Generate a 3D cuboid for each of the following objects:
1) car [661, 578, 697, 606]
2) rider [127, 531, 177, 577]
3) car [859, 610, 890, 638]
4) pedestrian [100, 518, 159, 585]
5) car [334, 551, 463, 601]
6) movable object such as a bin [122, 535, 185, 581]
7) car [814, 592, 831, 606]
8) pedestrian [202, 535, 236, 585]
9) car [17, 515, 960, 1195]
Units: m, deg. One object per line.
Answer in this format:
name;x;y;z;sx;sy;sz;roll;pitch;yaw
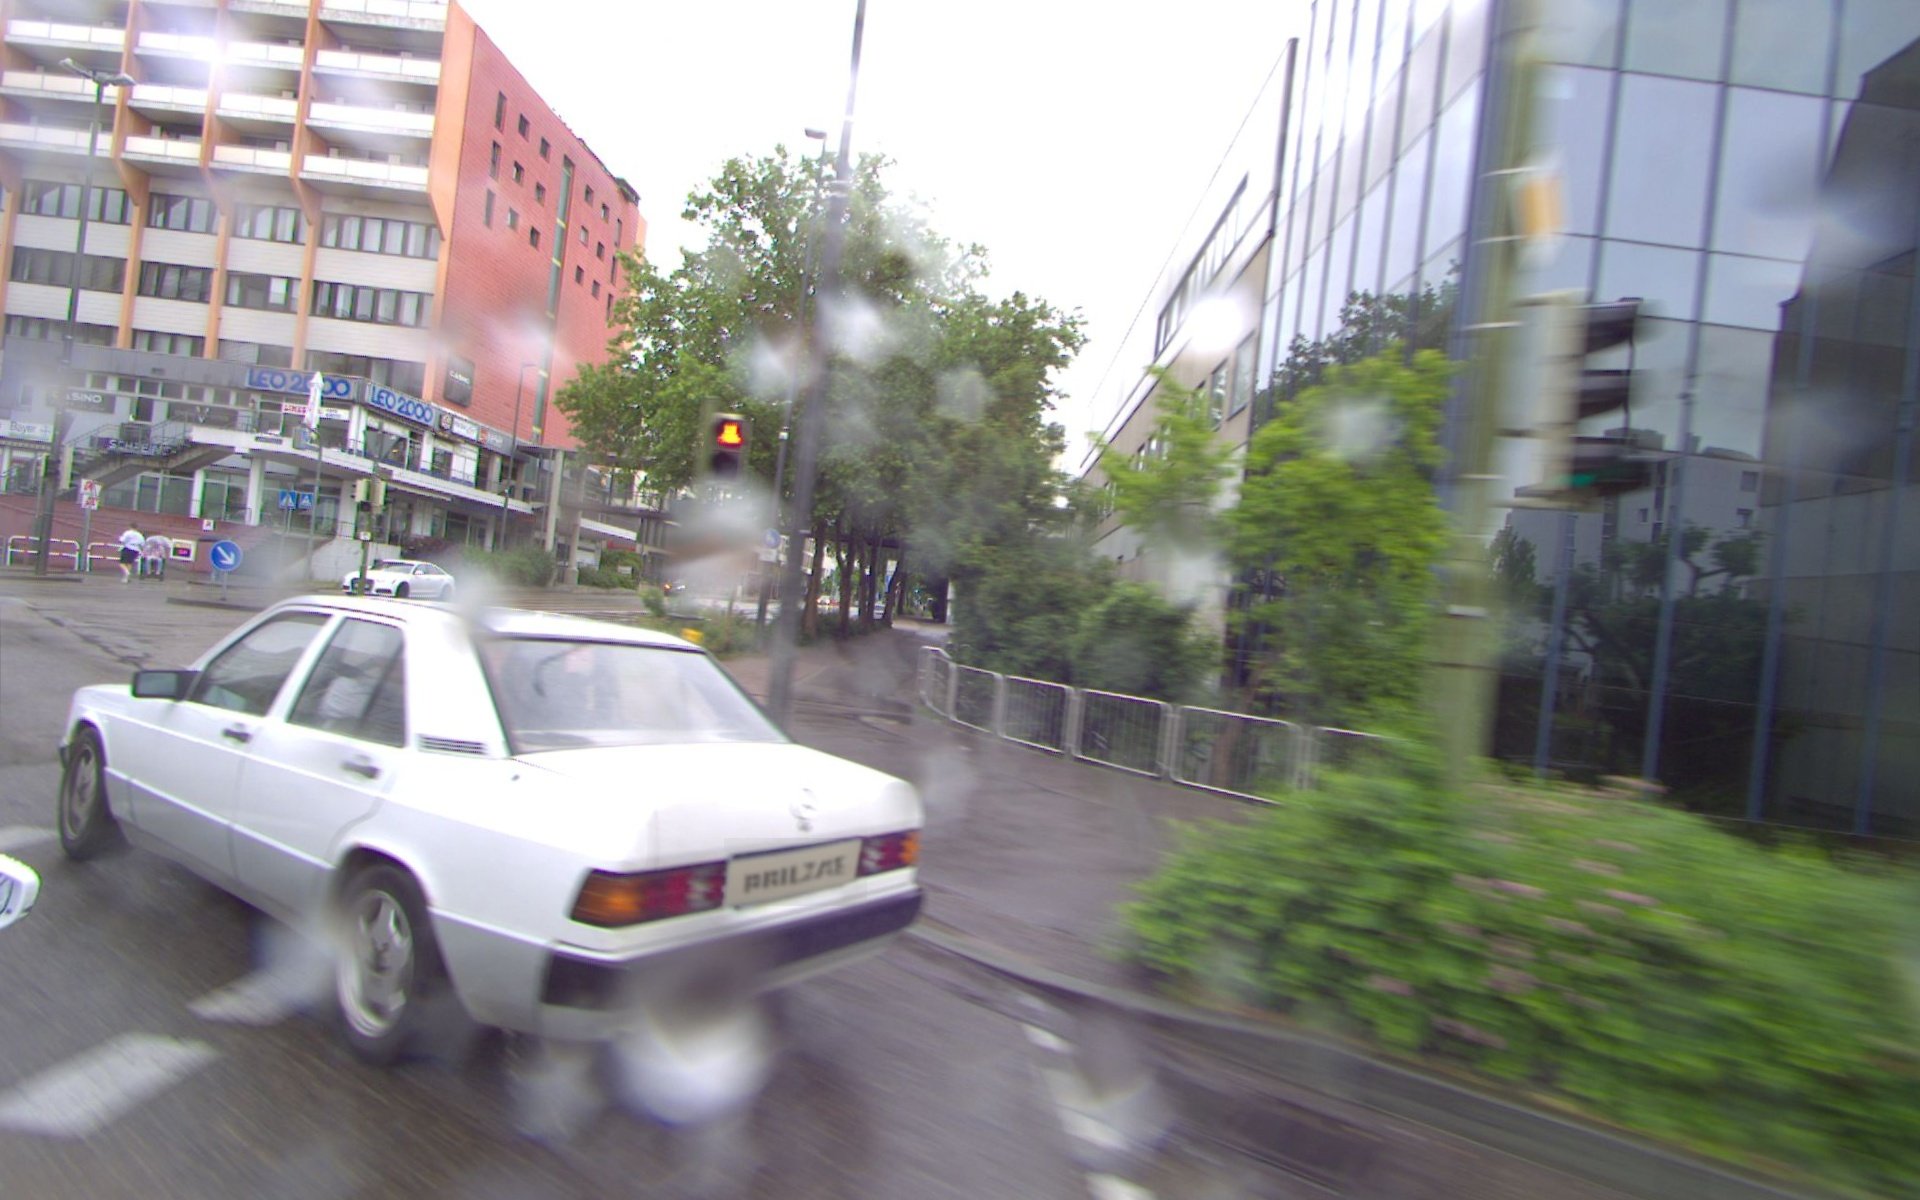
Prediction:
car;-23.099;-0.639;82.810;1.964;2.038;3.998;5;-1;-6
rider;-25.515;-1.462;31.771;1.073;1.302;0.922;7;3;34
car;-6.477;1.821;76.603;1.801;1.827;4.001;6;-1;1
pedestrian;-22.961;-1.334;27.807;1.110;1.711;0.829;6;-1;33
car;-20.029;-0.795;36.172;1.778;1.423;4.791;5;-1;1
movable object such as a bin;-25.526;-1.336;31.842;1.432;1.349;1.129;3;0;34
car;-20.534;-0.131;150.437;1.684;1.829;4.002;5;-1;3
pedestrian;-26.959;-1.461;36.591;0.791;1.689;0.920;7;-1;-42
car;-2.260;0.608;4.313;4.201;1.464;1.636;7;-2;35
